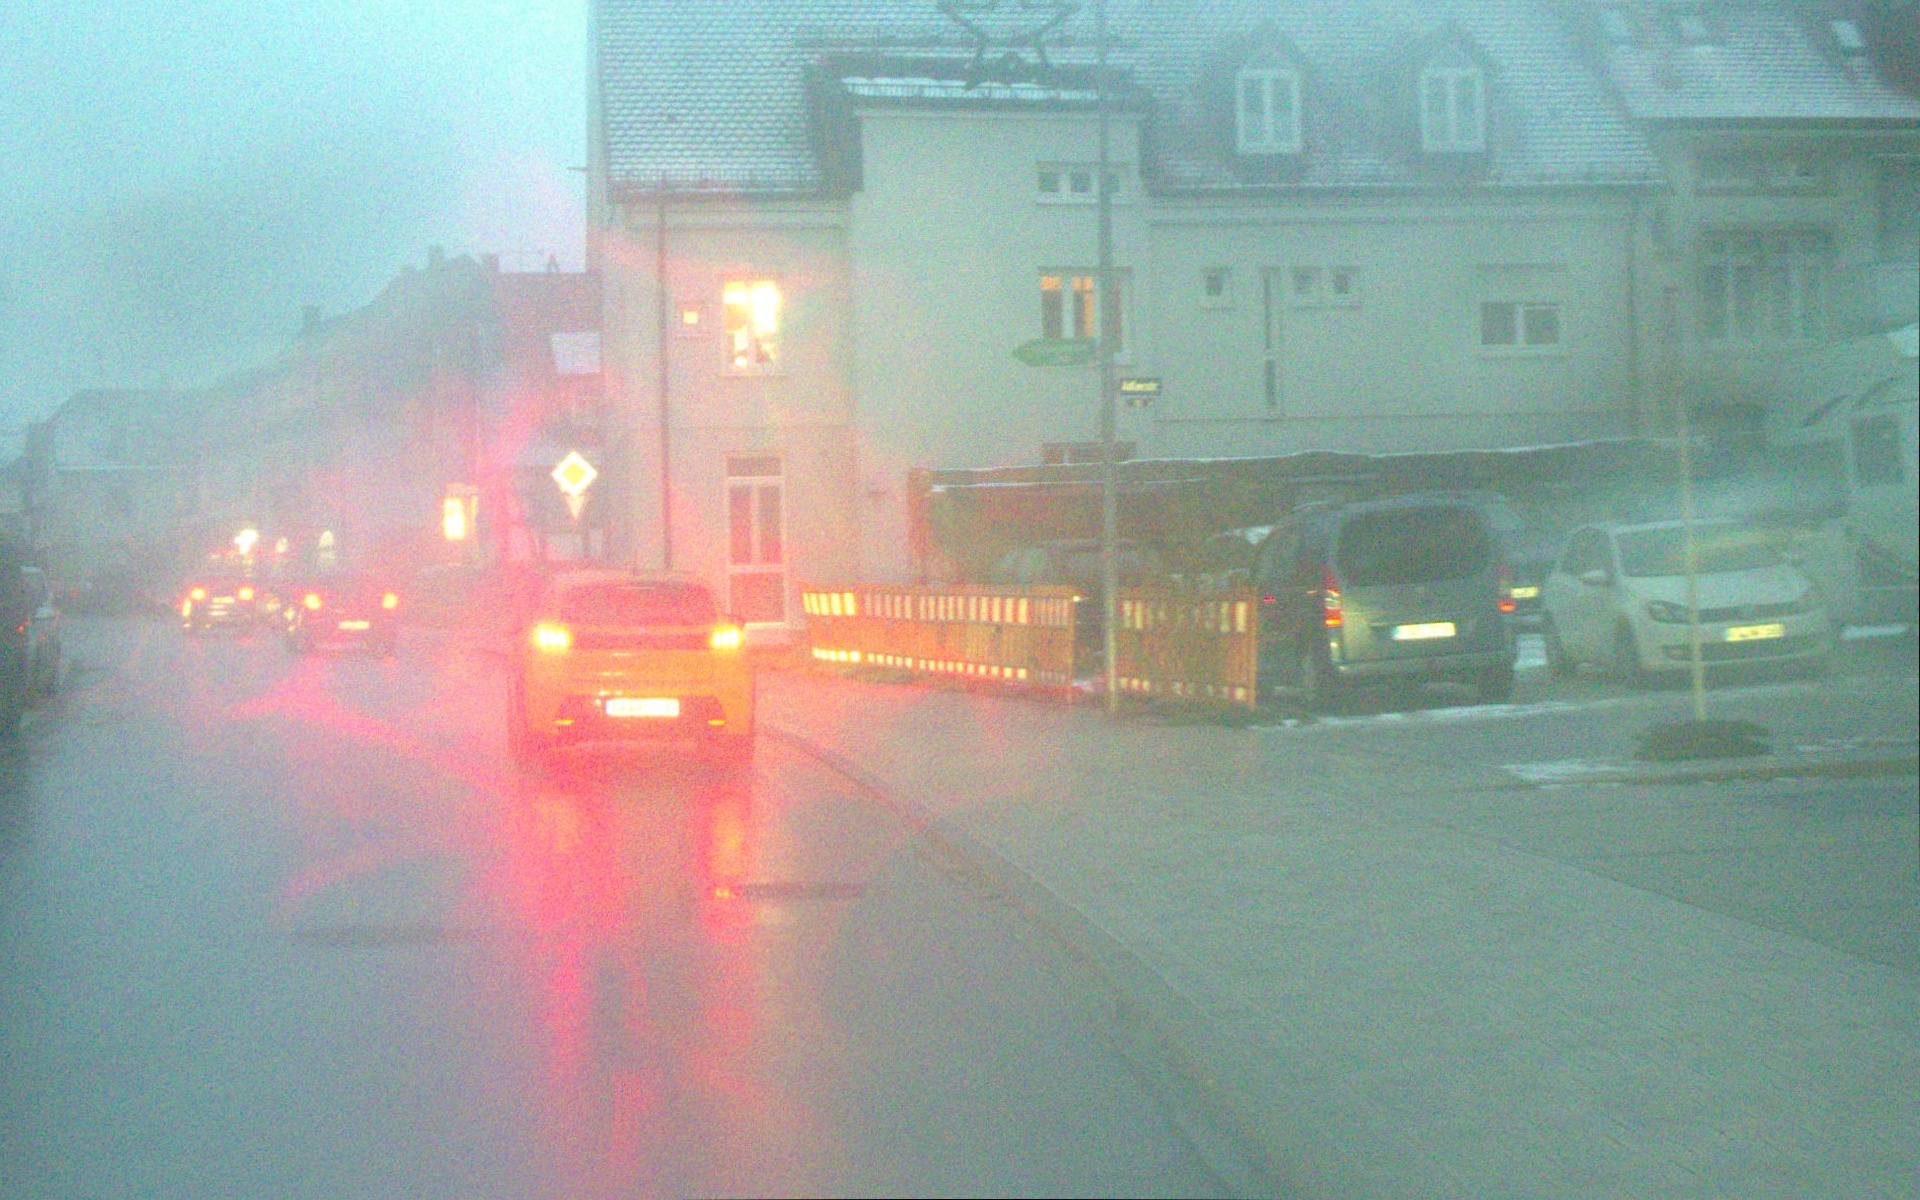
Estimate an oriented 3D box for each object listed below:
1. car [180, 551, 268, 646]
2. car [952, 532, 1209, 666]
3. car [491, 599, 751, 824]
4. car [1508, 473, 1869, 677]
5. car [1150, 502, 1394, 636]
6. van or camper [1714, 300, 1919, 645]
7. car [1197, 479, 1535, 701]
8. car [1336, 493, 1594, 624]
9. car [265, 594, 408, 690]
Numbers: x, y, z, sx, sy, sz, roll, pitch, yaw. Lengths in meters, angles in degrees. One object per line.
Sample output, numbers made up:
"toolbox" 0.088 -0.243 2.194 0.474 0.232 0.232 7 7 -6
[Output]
"car" -17.507 -0.068 81.730 1.993 2.195 4.001 0 1 -13
"car" 1.359 -0.039 40.351 1.886 1.457 3.634 -1 1 -18
"car" -2.580 0.781 26.126 1.814 1.528 4.001 0 1 -6
"car" 6.441 -0.199 30.892 1.993 1.605 4.175 -3 0 -5
"car" 3.722 -0.388 41.567 1.720 1.457 3.634 -3 2 -15
"van or camper" 9.616 -1.218 31.108 2.650 3.037 6.736 -5 1 -13
"car" 3.564 -0.119 31.032 1.993 1.759 4.351 -3 1 -7
"car" 6.221 -0.539 42.884 1.822 1.457 4.550 -3 2 -9
"car" -11.018 0.710 60.599 1.993 1.583 4.001 0 1 -17
